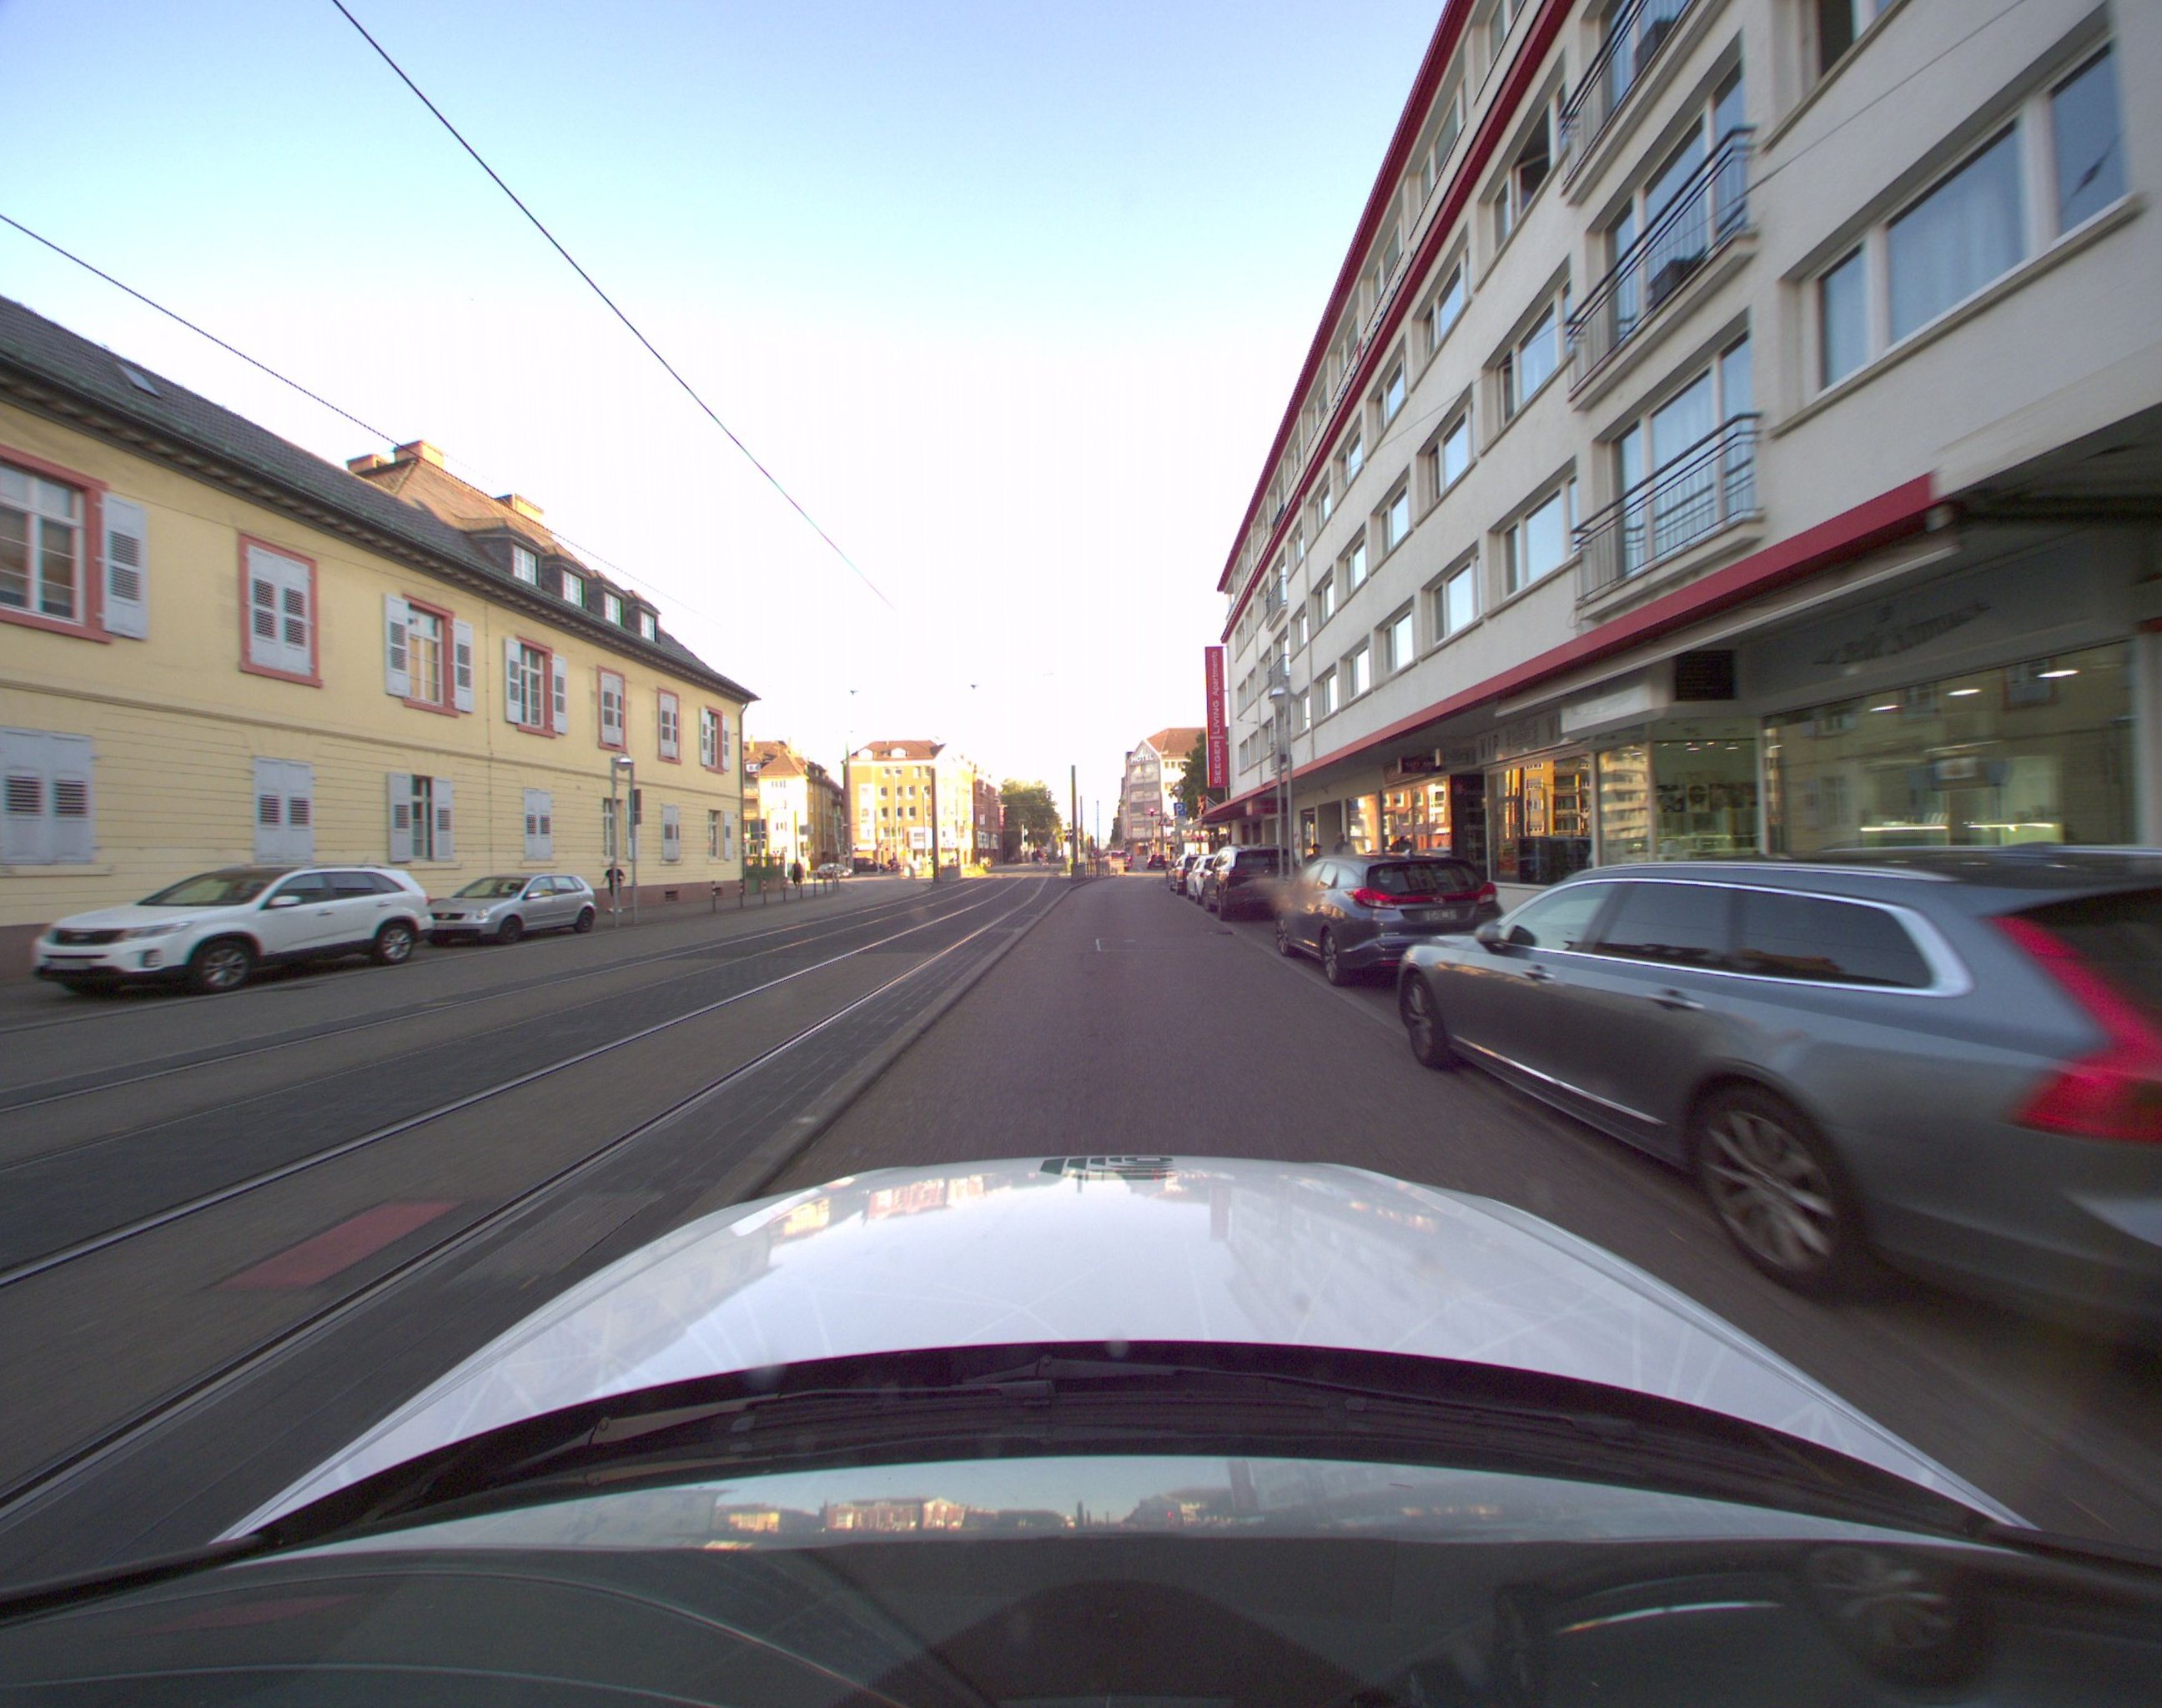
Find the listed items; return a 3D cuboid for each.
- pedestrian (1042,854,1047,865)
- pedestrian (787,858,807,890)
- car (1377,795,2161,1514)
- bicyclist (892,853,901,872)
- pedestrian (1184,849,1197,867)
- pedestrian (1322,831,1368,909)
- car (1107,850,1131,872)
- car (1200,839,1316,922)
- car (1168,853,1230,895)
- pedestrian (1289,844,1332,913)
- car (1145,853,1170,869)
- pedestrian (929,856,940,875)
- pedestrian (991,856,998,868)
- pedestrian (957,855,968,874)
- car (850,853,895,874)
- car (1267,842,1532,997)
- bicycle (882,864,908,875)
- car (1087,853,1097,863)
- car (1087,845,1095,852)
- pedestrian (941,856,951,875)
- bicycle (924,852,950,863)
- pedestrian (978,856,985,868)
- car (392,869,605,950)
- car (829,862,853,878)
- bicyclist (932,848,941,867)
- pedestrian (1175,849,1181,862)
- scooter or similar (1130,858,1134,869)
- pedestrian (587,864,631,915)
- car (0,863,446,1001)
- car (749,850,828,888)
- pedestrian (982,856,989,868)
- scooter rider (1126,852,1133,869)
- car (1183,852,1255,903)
[{"bbox_3d":[-5.927,0.901,133.242,0.802,1.664,0.704,0,-1,4],"label":"pedestrian"},{"bbox_3d":[-14.247,1.004,40.811,0.717,1.536,0.718,-2,-1,-3],"label":"pedestrian"},{"bbox_3d":[3.238,0.661,4.129,1.785,1.533,4.857,0,0,1],"label":"car"},{"bbox_3d":[-19.260,0.919,85.063,0.862,2.014,0.642,0,-1,-18],"label":"bicyclist"},{"bbox_3d":[10.430,0.388,77.820,0.827,1.685,1.040,0,-1,-23],"label":"pedestrian"},{"bbox_3d":[6.640,0.392,20.528,0.772,1.880,0.934,-2,-1,0],"label":"pedestrian"},{"bbox_3d":[3.129,0.595,66.122,1.827,1.636,4.093,-3,-2,3],"label":"car"},{"bbox_3d":[3.961,0.570,18.978,1.849,1.701,4.419,0,-1,1],"label":"car"},{"bbox_3d":[4.300,0.707,30.288,1.783,1.413,4.689,0,0,1],"label":"car"},{"bbox_3d":[5.421,0.555,19.272,0.730,1.574,0.967,-2,0,1],"label":"pedestrian"},{"bbox_3d":[6.975,0.625,74.521,1.759,1.440,3.999,-2,0,-1],"label":"car"},{"bbox_3d":[-10.657,0.851,59.387,0.662,1.375,0.651,-2,0,-1],"label":"pedestrian"},{"bbox_3d":[-15.163,1.360,142.504,1.090,2.014,1.163,0,-1,-1],"label":"pedestrian"},{"bbox_3d":[-8.673,0.741,59.456,0.662,1.375,0.651,-2,0,-1],"label":"pedestrian"},{"bbox_3d":[-22.622,1.007,88.578,4.561,2.036,1.993,-2,0,-11],"label":"car"},{"bbox_3d":[3.649,0.639,10.240,1.774,1.522,4.359,0,0,2],"label":"car"},{"bbox_3d":[-19.438,1.588,84.982,2.647,1.099,0.433,0,-1,-18],"label":"bicycle"},{"bbox_3d":[2.115,0.774,155.082,1.804,1.746,3.718,0,-1,3],"label":"car"},{"bbox_3d":[2.748,-1.440,221.580,1.985,1.901,4.003,0,-1,3],"label":"car"},{"bbox_3d":[-9.848,0.817,59.432,0.662,1.375,0.651,-1,0,-1],"label":"pedestrian"},{"bbox_3d":[-15.068,0.344,85.370,2.647,1.099,0.433,0,-1,-18],"label":"bicycle"},{"bbox_3d":[-16.866,1.382,138.067,1.090,2.014,0.908,0,-1,-1],"label":"pedestrian"},{"bbox_3d":[-12.588,1.121,17.958,1.742,1.474,4.002,0,0,2],"label":"car"},{"bbox_3d":[-22.082,1.444,74.801,1.773,1.376,4.192,-1,0,-21],"label":"car"},{"bbox_3d":[-15.147,0.344,85.370,0.863,2.014,0.642,0,-1,-19],"label":"bicyclist"},{"bbox_3d":[12.875,0.211,108.412,0.743,1.778,0.801,0,-1,4],"label":"pedestrian"},{"bbox_3d":[4.988,0.900,79.614,0.278,1.091,1.260,0,-1,8],"label":"scooter or similar"},{"bbox_3d":[-14.600,1.097,25.195,0.796,1.542,0.878,0,-1,4],"label":"pedestrian"},{"bbox_3d":[-12.572,0.993,12.512,1.880,1.661,4.760,0,0,0],"label":"car"},{"bbox_3d":[-16.641,0.825,46.552,3.993,2.013,1.990,-2,0,-15],"label":"car"},{"bbox_3d":[-16.335,1.416,139.359,1.090,2.014,0.908,0,-1,-1],"label":"pedestrian"},{"bbox_3d":[4.728,0.595,79.627,0.658,1.647,0.663,0,-1,10],"label":"scooter rider"},{"bbox_3d":[4.113,0.665,24.870,1.645,1.421,4.193,0,0,2],"label":"car"}]
